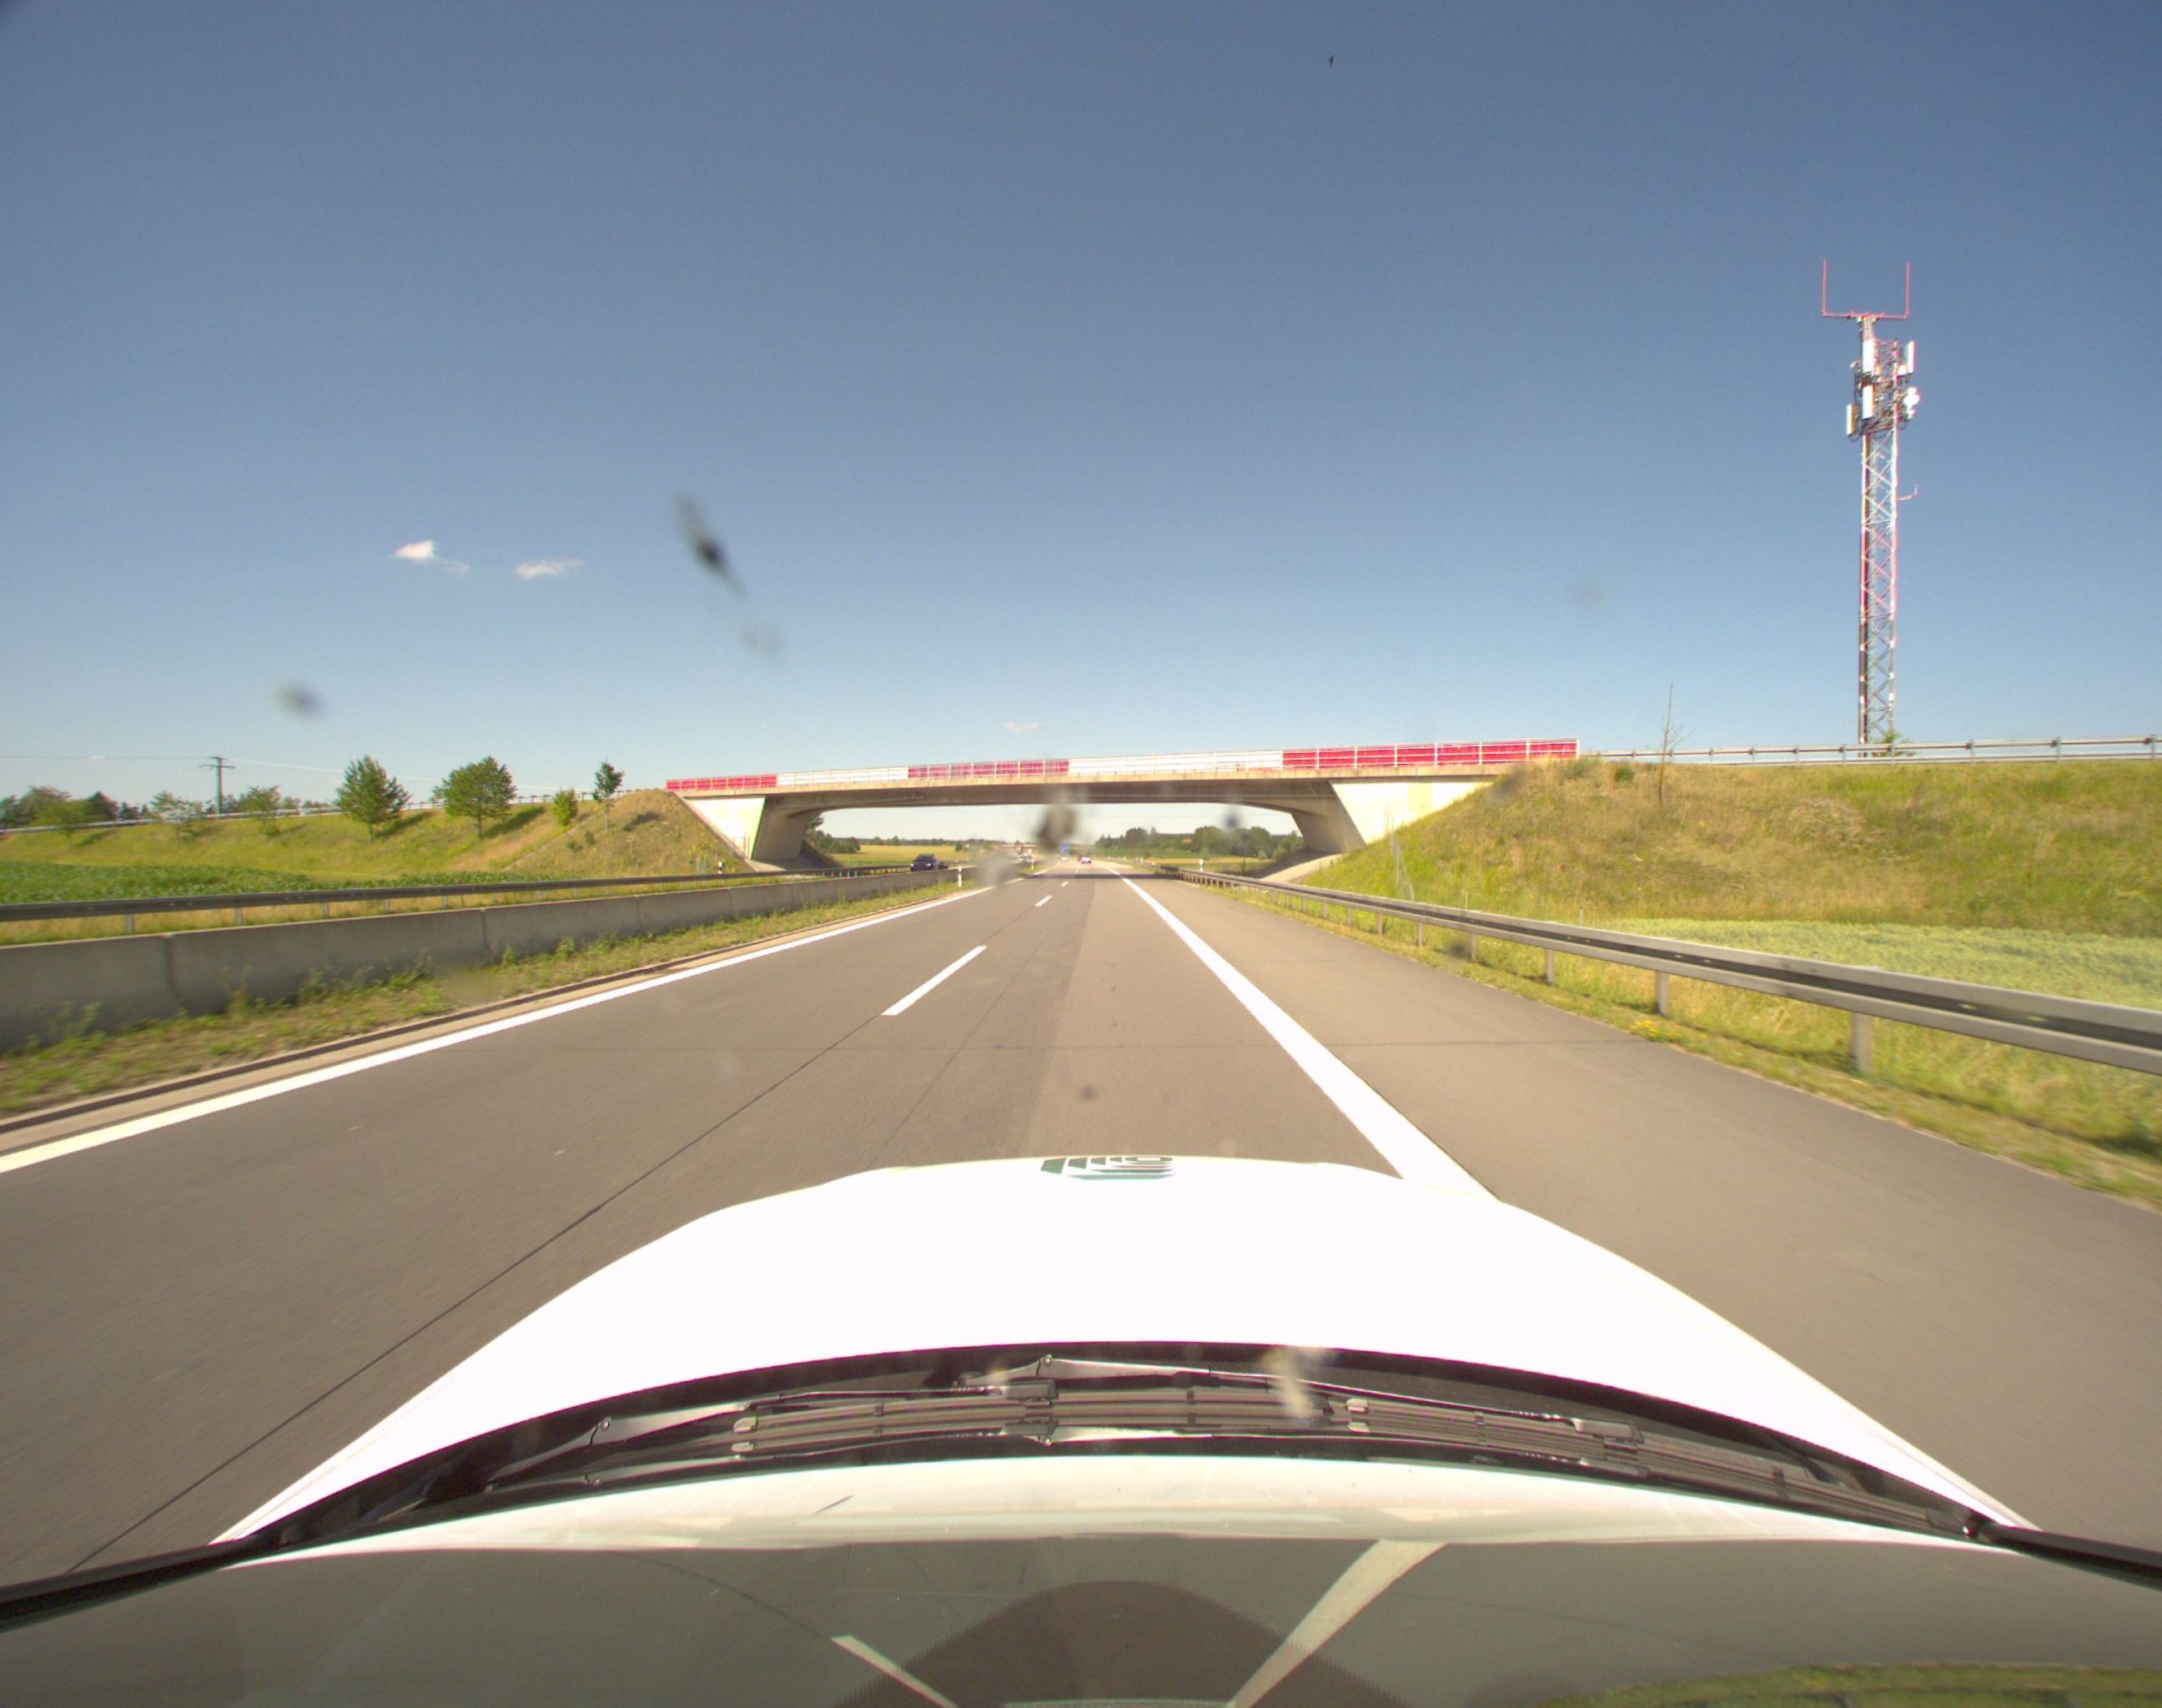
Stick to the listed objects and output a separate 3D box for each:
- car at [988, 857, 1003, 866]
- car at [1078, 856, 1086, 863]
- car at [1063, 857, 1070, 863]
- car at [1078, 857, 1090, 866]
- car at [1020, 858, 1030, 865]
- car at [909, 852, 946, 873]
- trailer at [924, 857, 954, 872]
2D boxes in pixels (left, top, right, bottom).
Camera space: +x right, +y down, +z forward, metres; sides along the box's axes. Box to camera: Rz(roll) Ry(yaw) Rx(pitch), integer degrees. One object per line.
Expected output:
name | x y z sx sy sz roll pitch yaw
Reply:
car | -13.353 1.135 127.567 1.849 1.460 4.194 0 0 0
car | 0.136 1.521 210.955 1.988 1.731 4.867 0 0 -1
car | -4.030 1.665 227.246 1.987 1.731 4.868 0 0 0
car | 0.624 1.415 159.463 1.990 1.731 4.860 0 0 -5
car | -13.432 1.739 195.983 1.987 1.579 4.895 1 -1 0
car | -13.065 0.725 69.789 1.986 1.731 5.588 0 0 1
trailer | -12.990 0.940 74.747 1.987 1.258 4.263 0 0 1
